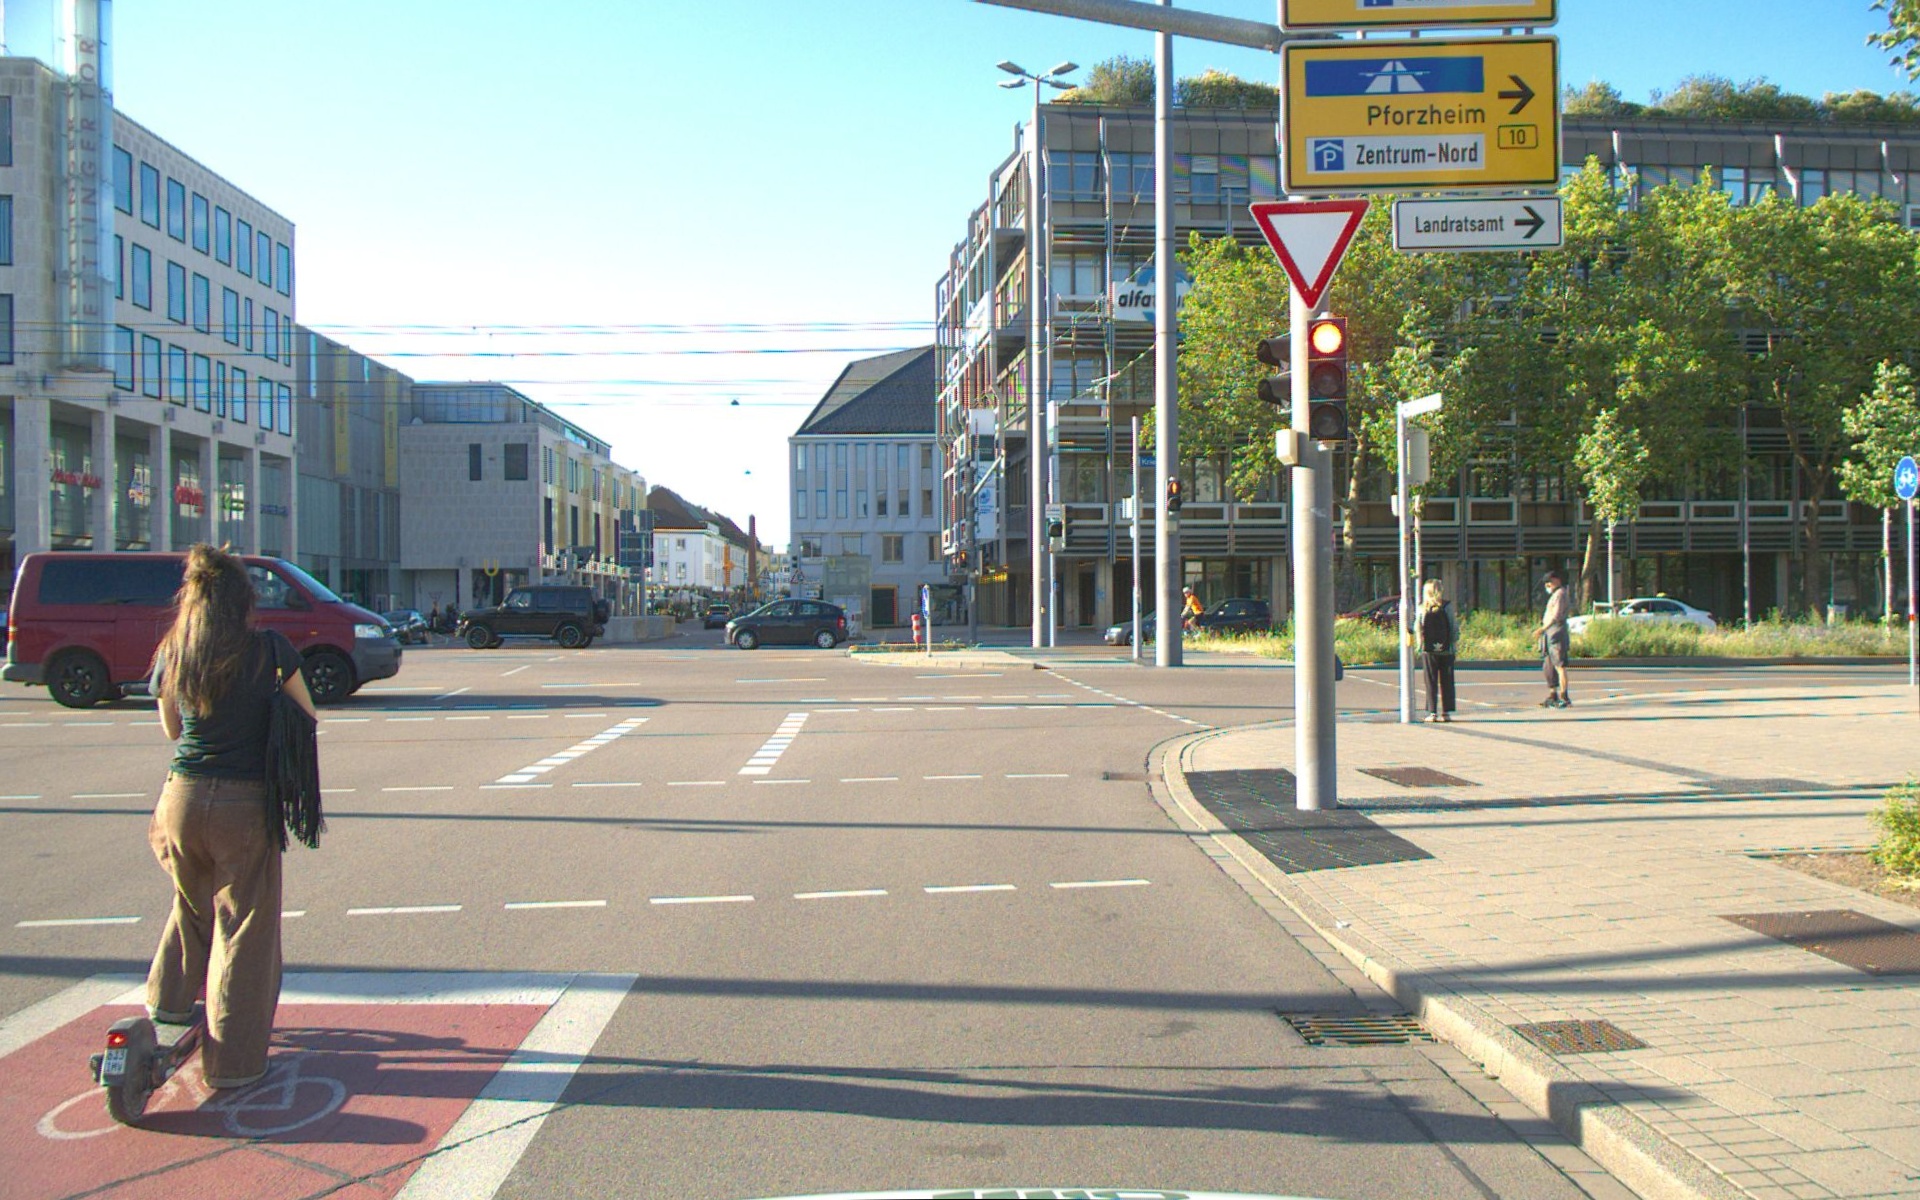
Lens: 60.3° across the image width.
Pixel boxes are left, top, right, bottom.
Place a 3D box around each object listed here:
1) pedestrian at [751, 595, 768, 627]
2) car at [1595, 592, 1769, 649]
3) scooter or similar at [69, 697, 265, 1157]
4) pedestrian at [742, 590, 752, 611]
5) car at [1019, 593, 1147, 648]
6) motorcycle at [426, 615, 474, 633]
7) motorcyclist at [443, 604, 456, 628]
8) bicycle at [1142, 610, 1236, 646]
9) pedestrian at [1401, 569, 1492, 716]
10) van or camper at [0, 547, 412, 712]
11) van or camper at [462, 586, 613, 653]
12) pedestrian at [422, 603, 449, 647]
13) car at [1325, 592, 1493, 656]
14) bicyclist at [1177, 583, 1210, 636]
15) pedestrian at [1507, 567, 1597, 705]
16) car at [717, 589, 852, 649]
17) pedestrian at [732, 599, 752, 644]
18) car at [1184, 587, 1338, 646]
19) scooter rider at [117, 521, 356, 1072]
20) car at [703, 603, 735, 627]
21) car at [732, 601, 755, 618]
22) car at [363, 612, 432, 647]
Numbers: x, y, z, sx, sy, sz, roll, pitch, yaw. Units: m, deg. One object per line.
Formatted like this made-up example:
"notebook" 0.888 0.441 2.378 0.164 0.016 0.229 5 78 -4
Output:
"pedestrian" -11.522 0.645 94.879 0.881 1.814 0.808 0 0 -1
"car" 22.758 0.641 52.235 4.749 1.713 1.824 -1 0 -4
"scooter or similar" -2.226 0.866 4.696 0.301 1.127 0.836 -1 0 -12
"pedestrian" -21.142 0.043 164.353 0.892 1.999 0.822 1 -1 -1
"car" 3.939 0.651 53.480 3.908 1.713 1.824 -1 0 -4
"motorcycle" -30.132 1.440 97.756 2.555 1.010 1.113 1 0 -10
"motorcyclist" -30.200 0.962 97.932 0.616 1.430 0.661 1 -1 -9
"bicycle" 6.516 0.795 47.191 2.517 0.992 1.047 -1 0 -4
"pedestrian" 5.577 0.475 19.007 0.750 1.642 0.874 -1 0 -2
"van or camper" -9.973 0.351 22.268 4.745 2.049 2.000 -1 0 -14
"van or camper" -13.382 0.613 52.594 4.329 2.049 1.993 -1 0 -5
"pedestrian" -19.921 0.955 62.776 0.762 1.667 0.625 -1 0 30
"car" 12.629 0.644 46.642 4.212 1.713 1.820 -1 0 -11
"bicyclist" 6.670 0.277 47.211 0.806 1.500 0.652 -1 0 -5
"pedestrian" 7.605 0.451 21.277 0.854 1.736 0.768 -1 0 -3
"car" -5.240 0.559 49.757 3.907 1.713 1.761 -1 0 -2
"pedestrian" -8.391 0.834 63.751 0.685 1.718 0.619 -1 0 0
"car" 9.205 0.488 50.745 4.317 1.713 1.824 -1 0 -4
"scooter rider" -2.145 0.554 4.946 0.542 1.556 0.448 -1 0 -9
"car" -15.695 0.959 107.814 1.625 1.484 3.541 -1 0 -1
"car" -19.027 0.826 145.365 1.625 1.484 3.541 -1 0 -1
"car" -23.570 1.221 69.426 1.642 1.381 4.019 -1 0 -2
